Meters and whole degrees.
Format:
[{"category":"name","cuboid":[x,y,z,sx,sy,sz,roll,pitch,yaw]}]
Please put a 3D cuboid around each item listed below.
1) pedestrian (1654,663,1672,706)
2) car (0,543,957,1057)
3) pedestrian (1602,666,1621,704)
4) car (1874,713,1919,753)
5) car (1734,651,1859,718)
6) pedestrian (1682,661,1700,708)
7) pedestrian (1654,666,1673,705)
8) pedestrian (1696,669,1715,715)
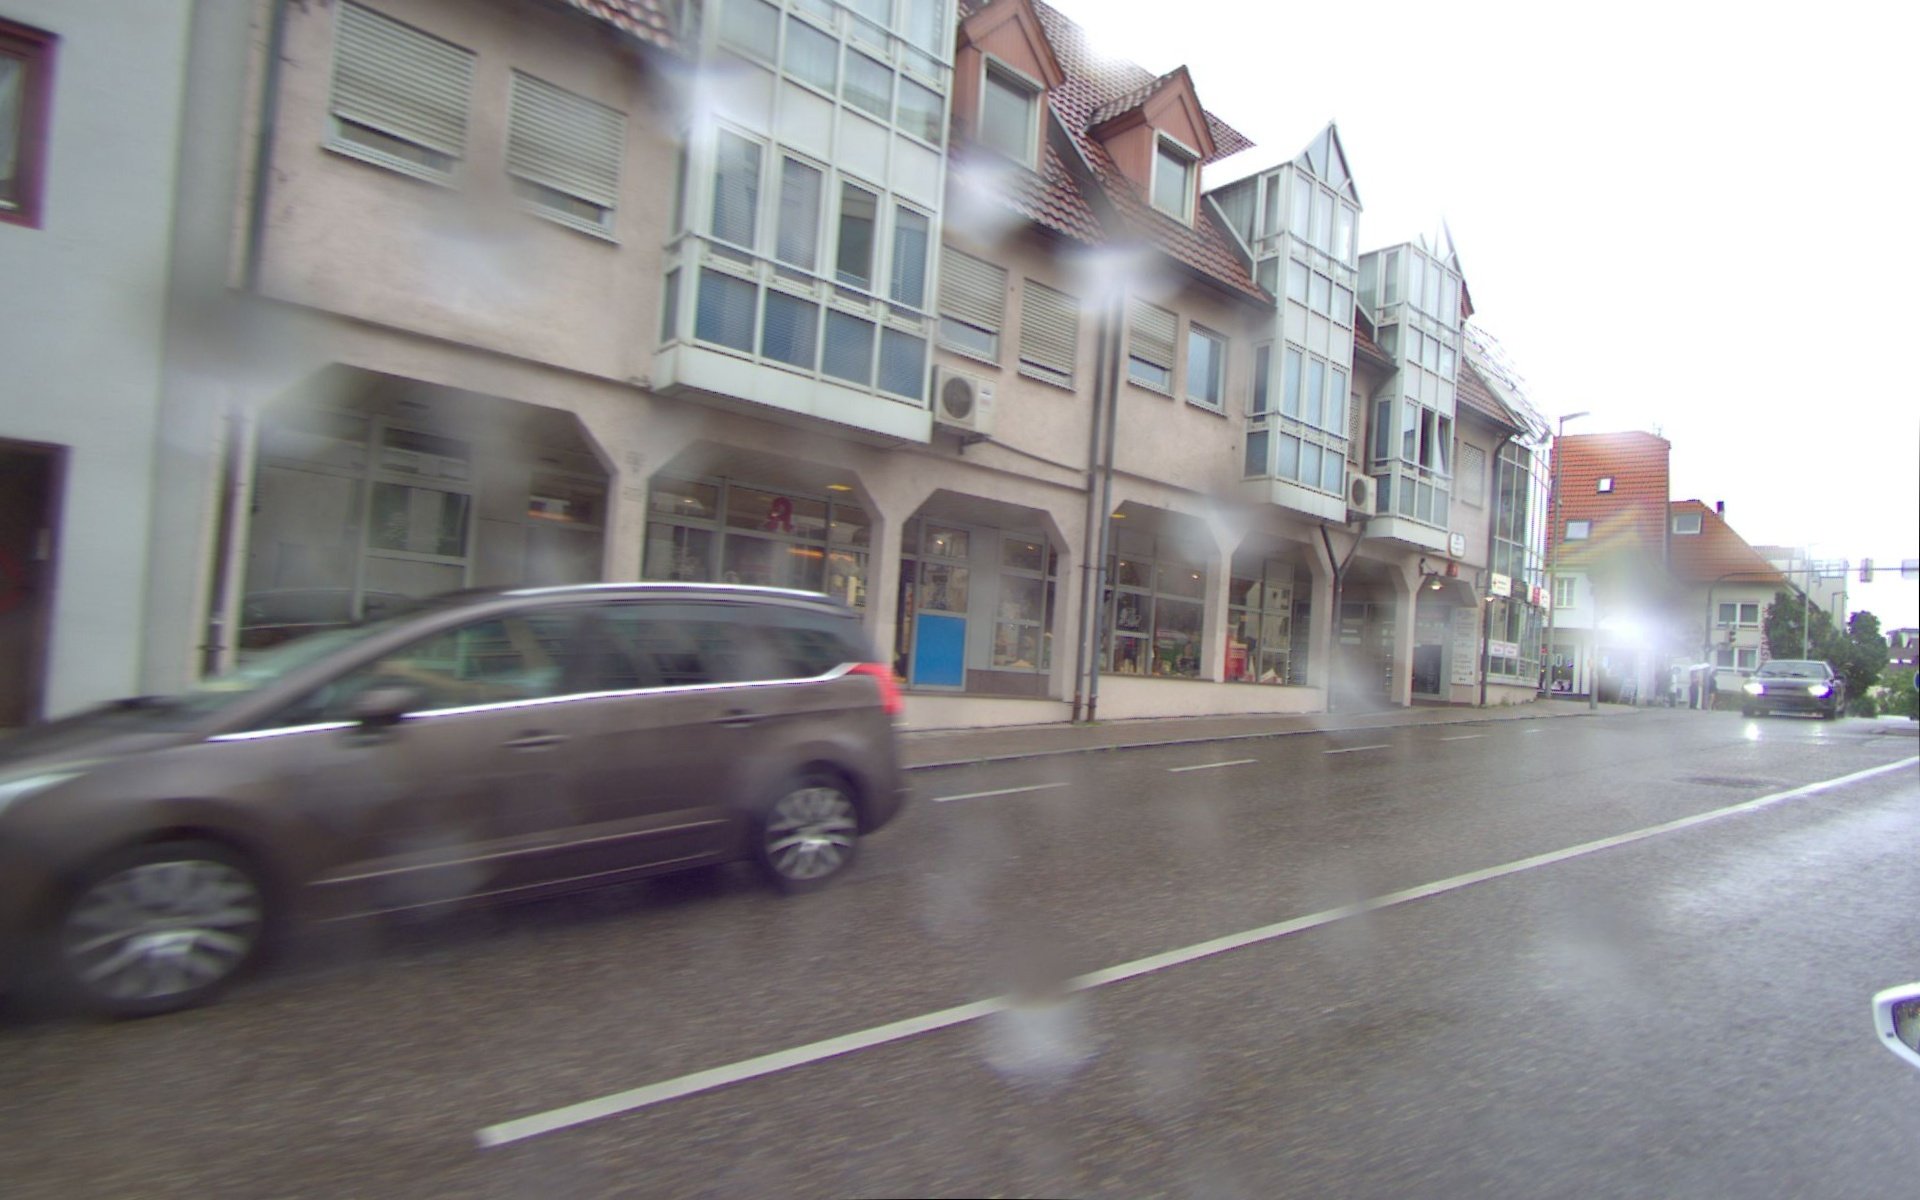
[{"category":"pedestrian","cuboid":[30.096,3.622,42.992,0.585,1.797,0.632,-1,-4,39]},{"category":"car","cuboid":[-2.180,0.685,5.156,4.181,1.652,1.767,1,-1,-40]},{"category":"pedestrian","cuboid":[27.548,3.594,42.474,0.585,1.579,0.632,-1,-4,39]},{"category":"car","cuboid":[69.551,9.772,74.105,6.513,2.660,2.563,5,-6,-43]},{"category":"car","cuboid":[21.083,2.059,25.277,3.970,1.486,1.870,2,-3,-42]},{"category":"pedestrian","cuboid":[29.692,3.430,40.798,0.528,1.895,0.632,-1,-4,39]},{"category":"pedestrian","cuboid":[29.477,3.582,42.073,0.585,1.579,0.632,-1,-4,39]},{"category":"pedestrian","cuboid":[31.435,3.879,42.334,0.595,1.891,0.745,-1,-4,39]}]
